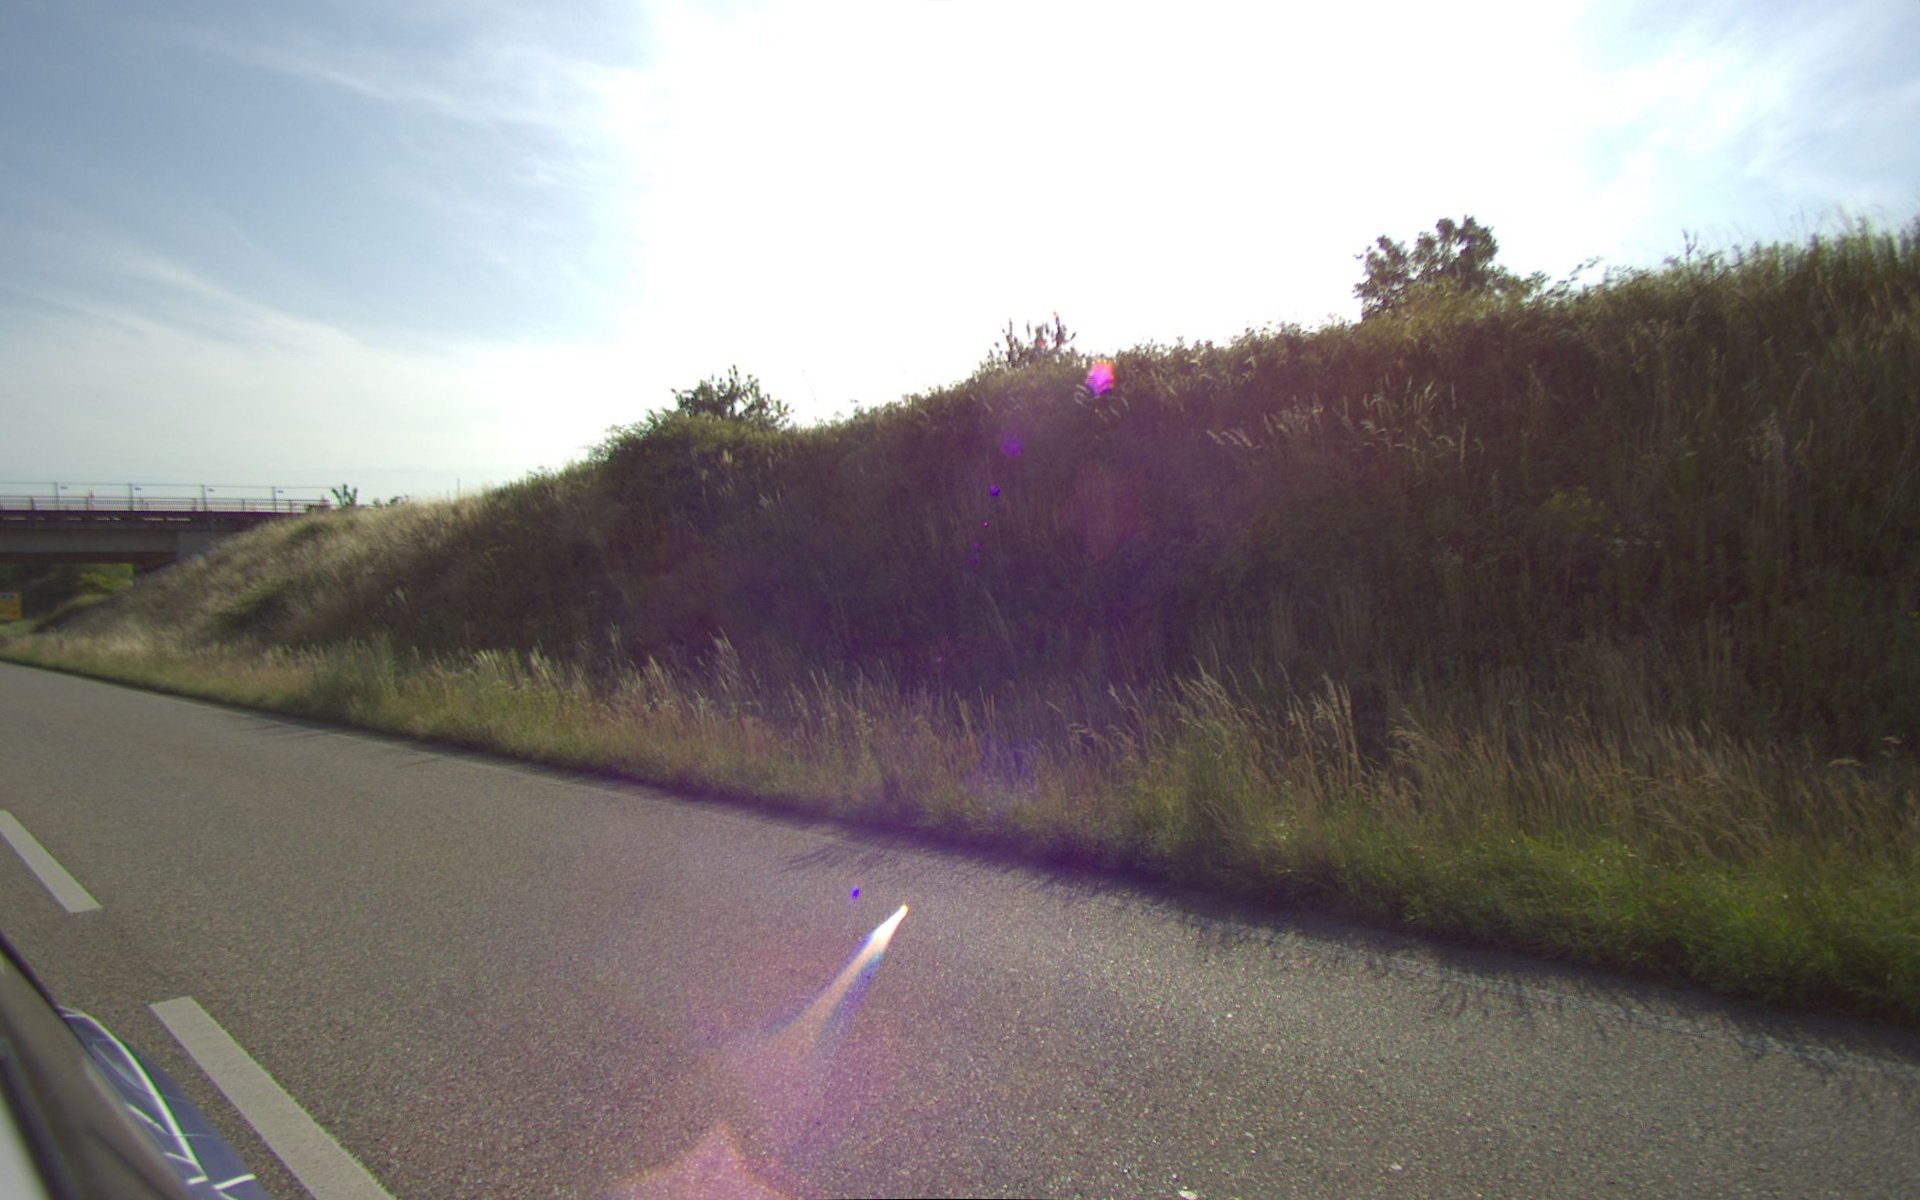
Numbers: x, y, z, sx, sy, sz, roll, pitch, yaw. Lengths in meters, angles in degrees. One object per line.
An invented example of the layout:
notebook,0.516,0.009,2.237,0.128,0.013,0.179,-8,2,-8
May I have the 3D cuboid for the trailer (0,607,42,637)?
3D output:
trailer,-140.492,3.243,144.851,13.571,4.144,3.568,-1,0,-12
